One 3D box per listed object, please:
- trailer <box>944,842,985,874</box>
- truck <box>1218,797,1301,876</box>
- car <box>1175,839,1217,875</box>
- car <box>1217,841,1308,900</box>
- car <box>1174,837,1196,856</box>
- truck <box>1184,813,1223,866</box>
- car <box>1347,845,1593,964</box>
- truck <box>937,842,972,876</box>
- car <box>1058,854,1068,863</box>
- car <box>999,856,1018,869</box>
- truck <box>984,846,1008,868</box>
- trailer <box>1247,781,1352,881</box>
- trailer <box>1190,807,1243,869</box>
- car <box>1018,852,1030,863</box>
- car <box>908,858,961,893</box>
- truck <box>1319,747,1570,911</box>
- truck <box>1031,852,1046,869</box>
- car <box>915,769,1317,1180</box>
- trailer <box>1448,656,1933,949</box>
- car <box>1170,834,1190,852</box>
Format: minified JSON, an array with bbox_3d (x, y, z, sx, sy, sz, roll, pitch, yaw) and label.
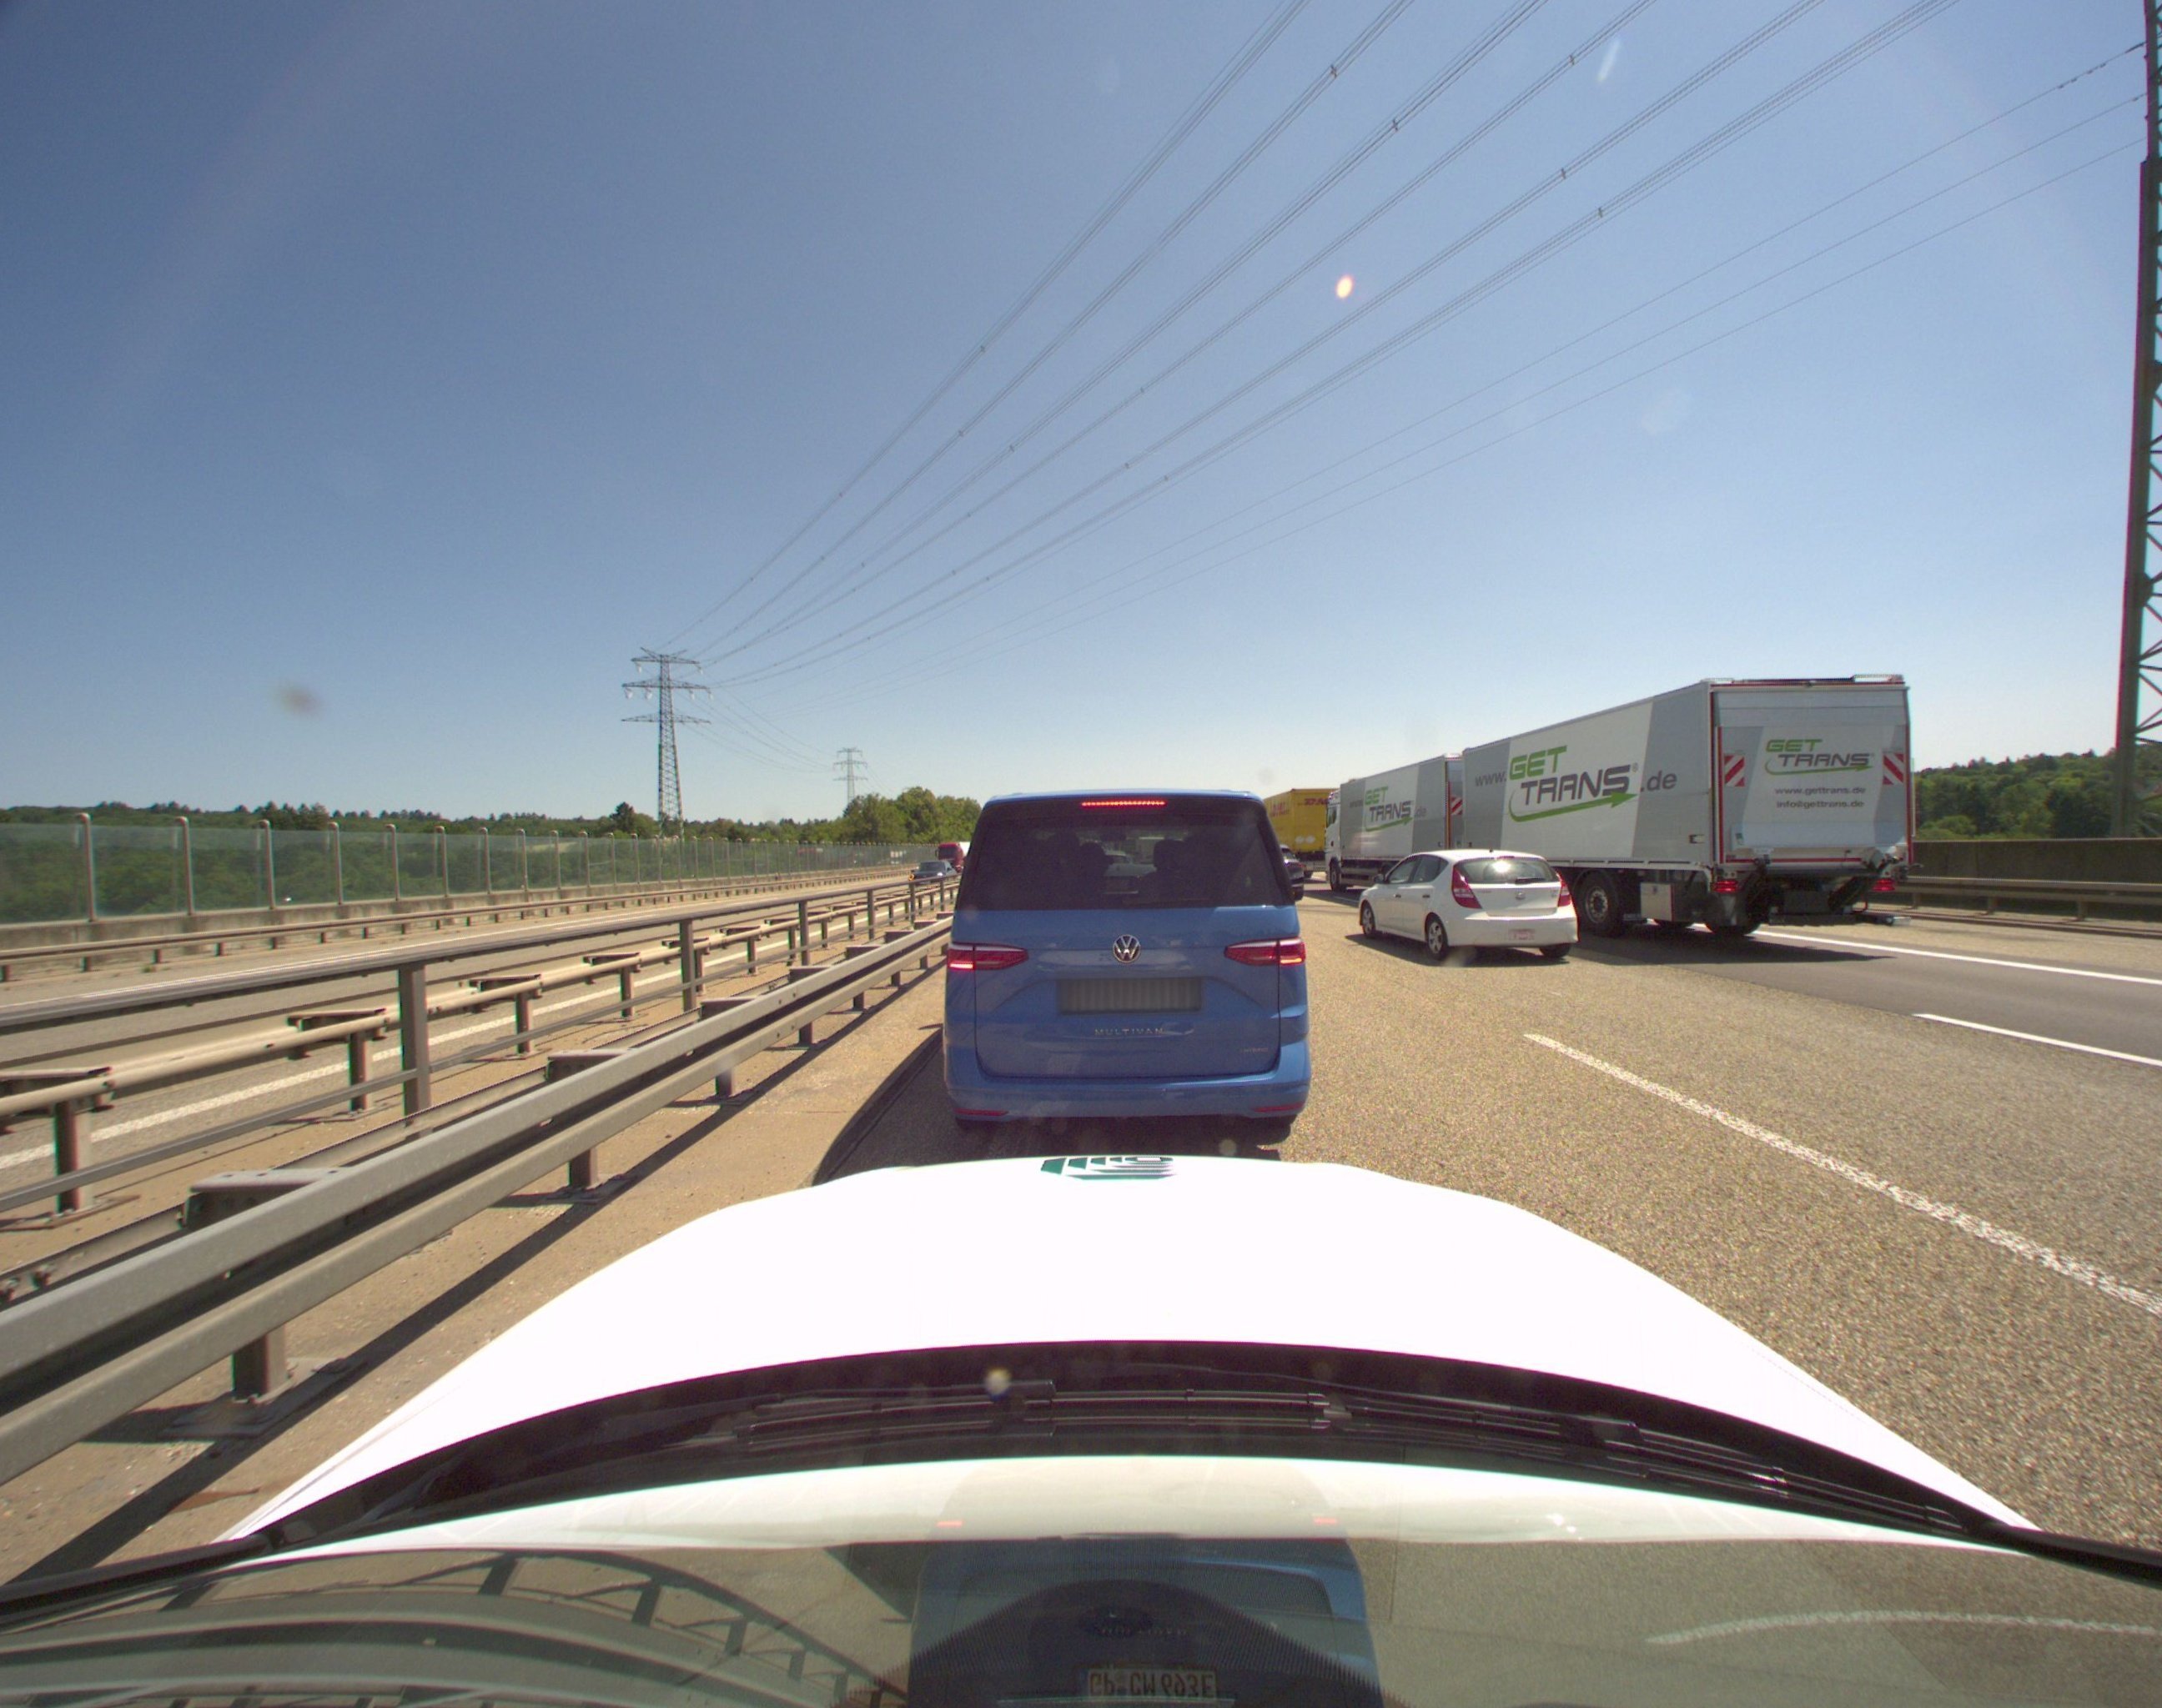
[{"bbox_3d":[-13.399,0.474,94.519,2.472,3.344,12.077,-4,0,2],"label":"trailer"},{"bbox_3d":[10.502,-0.919,49.251,2.826,4.243,11.013,0,0,1],"label":"truck"},{"bbox_3d":[6.681,0.170,47.675,1.954,1.993,4.295,-1,0,2],"label":"car"},{"bbox_3d":[5.493,0.460,25.154,1.954,1.644,4.295,-1,0,2],"label":"car"},{"bbox_3d":[11.000,-0.763,86.152,1.986,2.014,4.002,0,0,2],"label":"car"},{"bbox_3d":[10.787,-1.185,72.265,2.657,4.484,6.853,0,0,2],"label":"truck"},{"bbox_3d":[5.588,0.633,12.384,1.782,1.455,4.295,-1,0,2],"label":"car"},{"bbox_3d":[-13.587,0.490,87.573,2.488,3.365,5.836,-4,0,2],"label":"truck"},{"bbox_3d":[-3.950,1.023,177.340,1.986,2.014,4.314,0,0,2],"label":"car"},{"bbox_3d":[-9.276,1.068,104.657,1.856,1.444,4.132,-4,0,2],"label":"car"},{"bbox_3d":[-13.142,0.507,126.758,2.510,3.110,8.724,-5,0,1],"label":"truck"},{"bbox_3d":[10.247,-0.946,39.241,2.854,4.239,9.015,0,0,2],"label":"trailer"},{"bbox_3d":[10.573,-1.193,64.798,2.627,4.516,11.305,0,0,2],"label":"trailer"},{"bbox_3d":[-12.404,0.692,177.029,2.074,2.149,4.314,-3,0,2],"label":"car"},{"bbox_3d":[-6.890,0.979,38.595,1.613,1.464,3.703,-3,0,2],"label":"car"},{"bbox_3d":[9.836,-0.580,23.966,2.647,3.648,11.013,-1,0,1],"label":"truck"},{"bbox_3d":[-8.635,1.307,166.434,2.553,3.359,8.863,-3,0,0],"label":"truck"},{"bbox_3d":[0.224,0.556,5.745,1.813,1.857,4.076,0,0,2],"label":"car"},{"bbox_3d":[9.613,-0.670,14.438,2.688,3.700,8.017,-1,0,1],"label":"trailer"},{"bbox_3d":[12.102,-1.293,99.468,1.986,2.013,4.463,-2,0,2],"label":"car"}]
